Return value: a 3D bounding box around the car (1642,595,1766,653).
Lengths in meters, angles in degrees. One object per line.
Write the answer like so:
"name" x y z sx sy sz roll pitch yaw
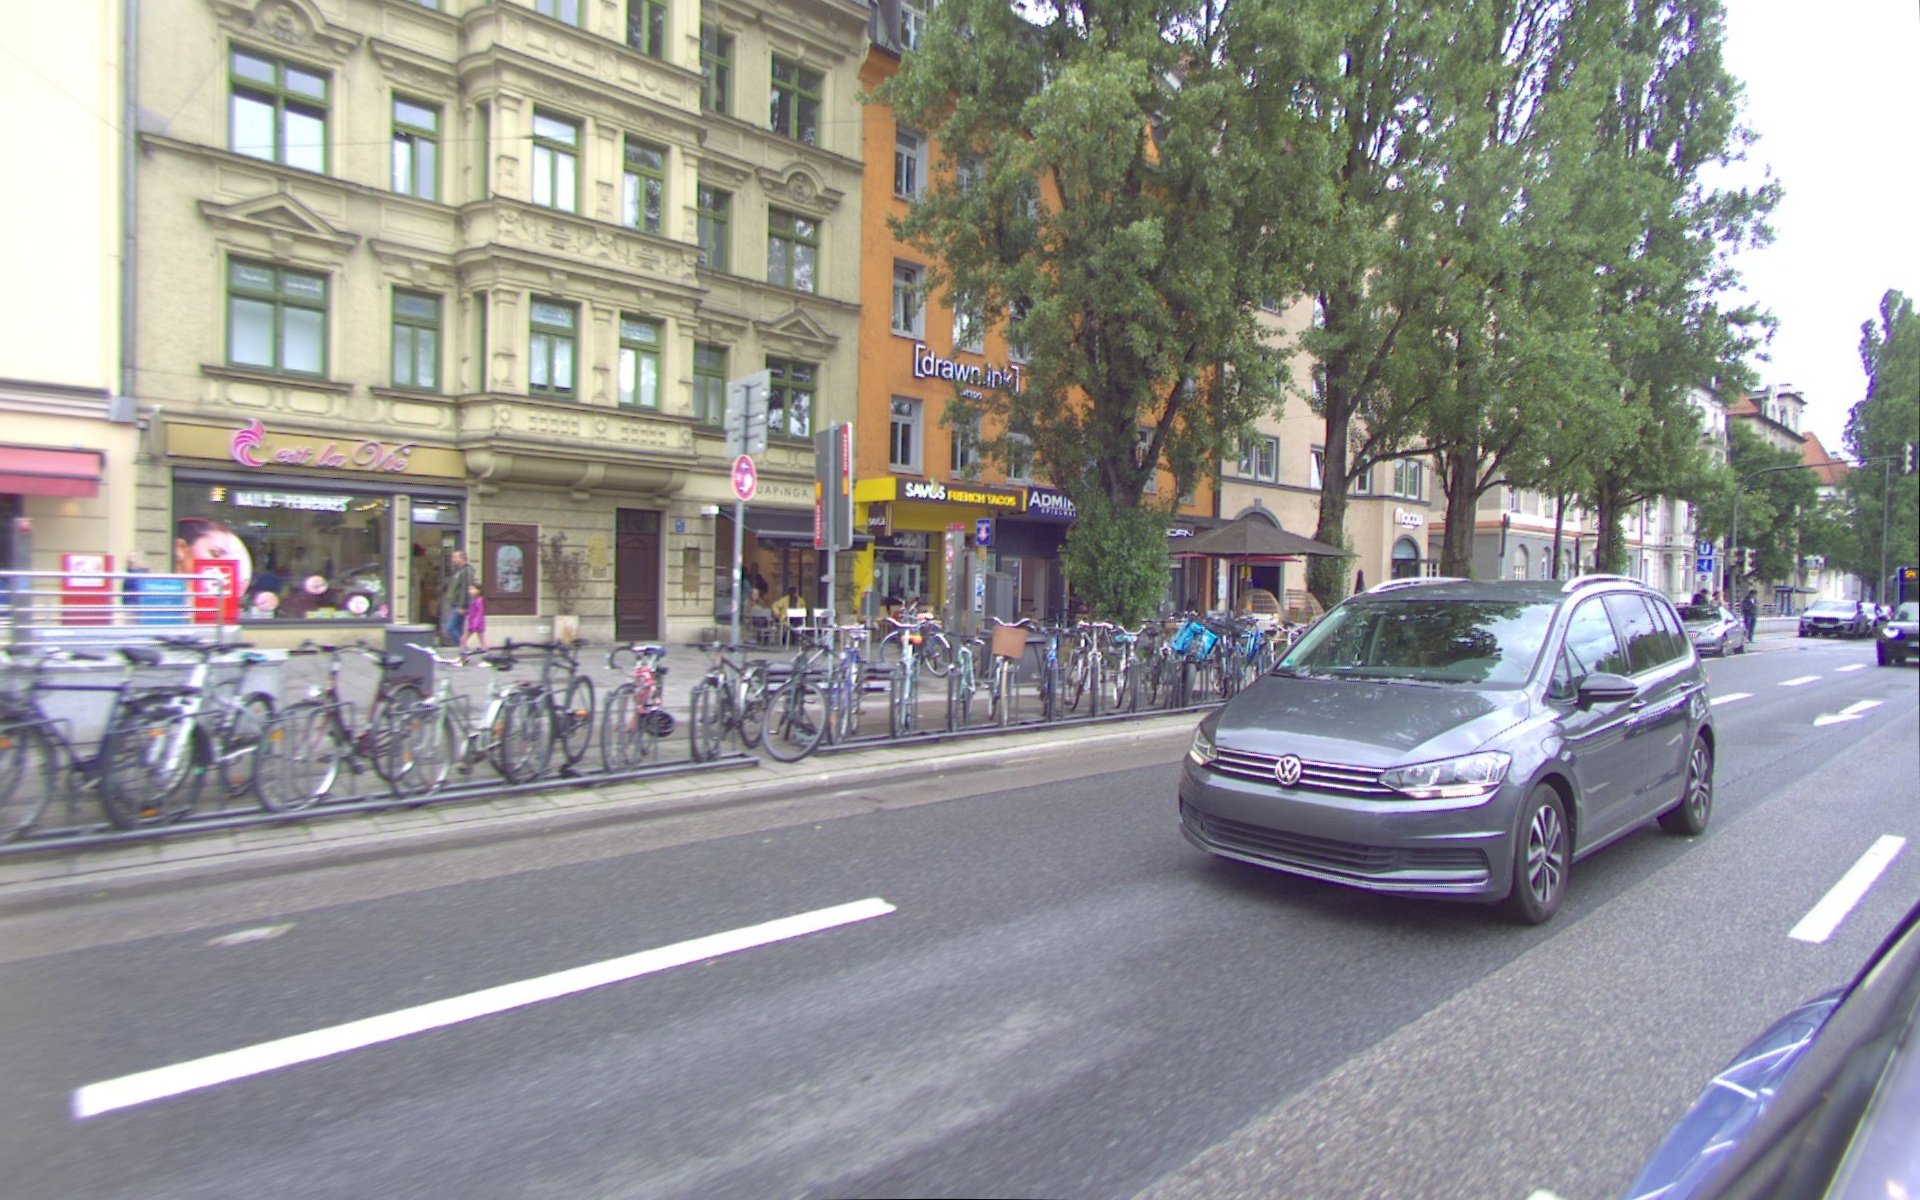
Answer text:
"car" 20.957 0.606 28.448 4.452 1.458 1.996 0 2 -43

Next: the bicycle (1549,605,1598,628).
"bicycle" 23.450 0.614 38.693 0.385 0.845 1.574 0 0 -42

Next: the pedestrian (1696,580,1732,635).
"pedestrian" 25.142 0.257 33.768 0.638 1.803 0.702 1 0 -7

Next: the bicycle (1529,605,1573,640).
"bicycle" 17.340 0.646 29.681 1.624 0.977 0.590 0 1 -40

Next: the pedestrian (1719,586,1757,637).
"pedestrian" 25.973 0.369 33.797 0.743 1.658 0.700 1 0 7

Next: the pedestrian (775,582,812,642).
"pedestrian" -3.687 0.250 22.349 0.573 1.296 0.584 0 1 -41

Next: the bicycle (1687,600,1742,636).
"bicycle" 25.111 0.586 33.699 0.352 1.116 1.747 1 1 -6

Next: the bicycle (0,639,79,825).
"bicycle" -5.601 0.785 5.334 0.341 1.008 1.843 1 2 -1

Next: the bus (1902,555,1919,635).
"bus" 40.365 -0.192 40.647 9.299 3.012 2.635 0 -1 -41

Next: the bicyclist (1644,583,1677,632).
"bicyclist" 23.901 0.240 34.547 0.923 1.623 0.681 0 1 -40

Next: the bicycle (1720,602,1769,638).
"bicycle" 26.071 0.664 33.665 0.353 1.116 1.743 1 1 5

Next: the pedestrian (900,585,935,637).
"pedestrian" -1.042 0.256 24.873 0.573 1.233 0.623 0 1 -41

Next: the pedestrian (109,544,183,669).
"pedestrian" -11.182 0.079 13.908 0.772 1.653 0.712 0 1 -40

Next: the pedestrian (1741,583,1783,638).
"pedestrian" 27.135 0.358 34.229 0.741 1.824 0.883 1 0 -30

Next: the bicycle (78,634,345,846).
"bicycle" -4.578 0.784 6.351 0.341 1.008 1.843 1 2 -1

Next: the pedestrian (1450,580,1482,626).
"pedestrian" 19.420 0.105 38.832 0.999 1.706 0.747 0 1 -40

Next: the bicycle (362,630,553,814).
"bicycle" -3.479 0.783 7.180 0.341 1.008 1.841 1 2 3

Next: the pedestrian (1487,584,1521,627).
"pedestrian" 20.812 0.195 38.746 0.807 1.622 0.850 0 1 -34

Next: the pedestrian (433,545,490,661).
"pedestrian" -7.747 0.040 15.731 0.654 1.761 0.601 0 1 -40

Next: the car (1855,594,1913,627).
"car" 45.077 0.476 49.353 3.678 1.527 1.729 0 1 -42

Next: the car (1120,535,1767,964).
"car" 3.178 0.588 6.125 4.624 1.668 1.775 0 -1 -40

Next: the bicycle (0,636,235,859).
"bicycle" -5.063 0.785 5.928 0.341 1.008 1.843 1 2 -1

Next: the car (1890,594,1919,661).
"car" 23.610 0.611 24.068 3.901 1.523 1.778 0 0 -41

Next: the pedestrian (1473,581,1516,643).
"pedestrian" 13.991 0.306 26.491 0.749 1.582 0.762 1 0 -39

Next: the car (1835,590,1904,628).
"car" 41.327 0.400 45.973 3.895 1.596 1.730 0 1 -39

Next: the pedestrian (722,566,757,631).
"pedestrian" -5.115 -0.040 23.438 0.572 1.493 0.627 0 1 -38

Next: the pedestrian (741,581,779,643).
"pedestrian" -4.321 0.251 21.823 0.573 1.296 0.584 0 1 -41

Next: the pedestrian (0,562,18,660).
"pedestrian" -13.462 0.144 14.044 0.542 1.349 0.496 0 1 -40

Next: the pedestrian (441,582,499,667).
"pedestrian" -7.393 0.357 15.271 0.654 1.237 0.601 0 1 -40

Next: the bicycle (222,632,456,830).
"bicycle" -4.030 0.785 6.739 0.341 1.008 1.841 1 2 3

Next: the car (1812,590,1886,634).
"car" 37.621 0.496 42.797 4.424 1.682 1.734 0 -4 -42
